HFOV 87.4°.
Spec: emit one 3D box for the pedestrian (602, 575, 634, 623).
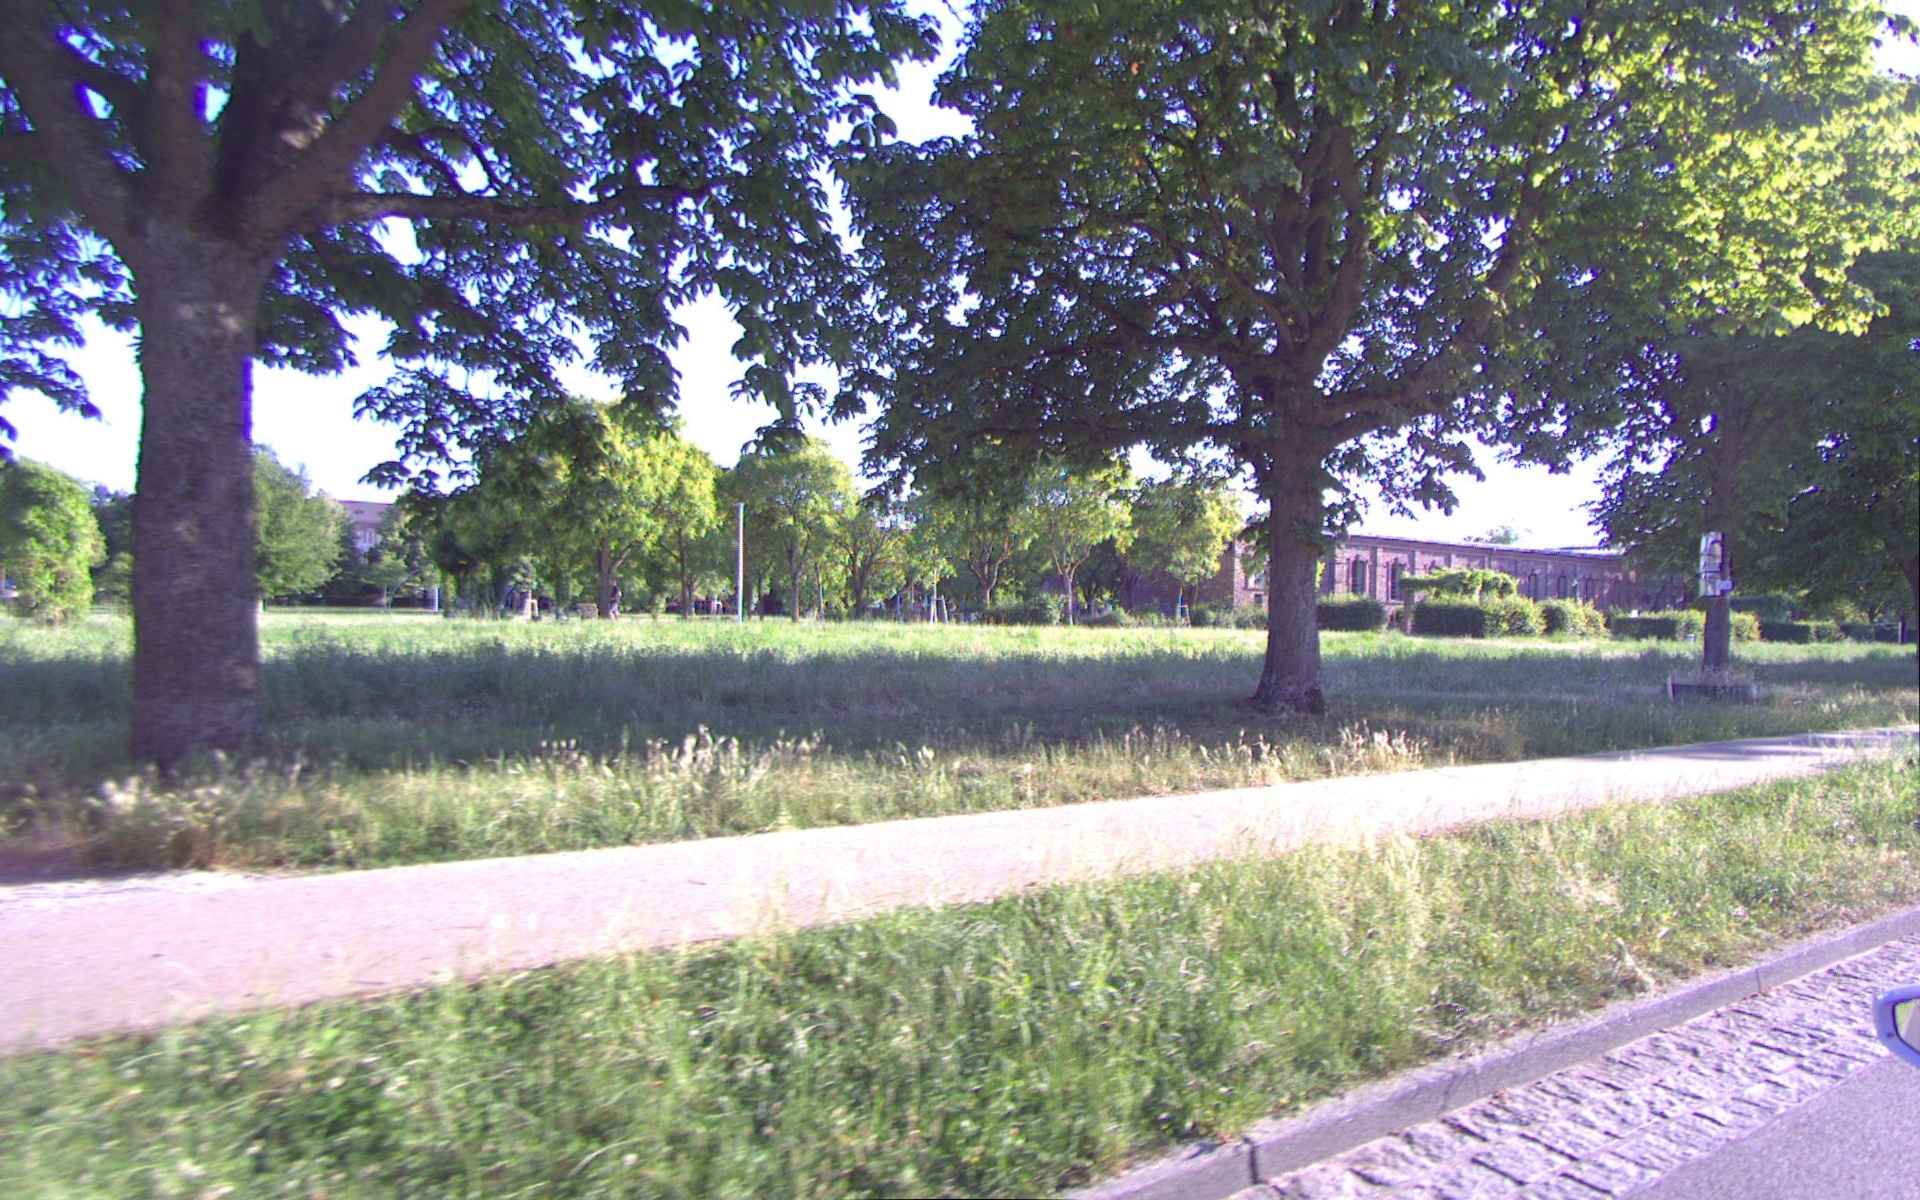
[{"bbox_3d":[-12.590,-0.036,37.000,0.764,1.747,0.714,3,1,32],"label":"pedestrian"}]
